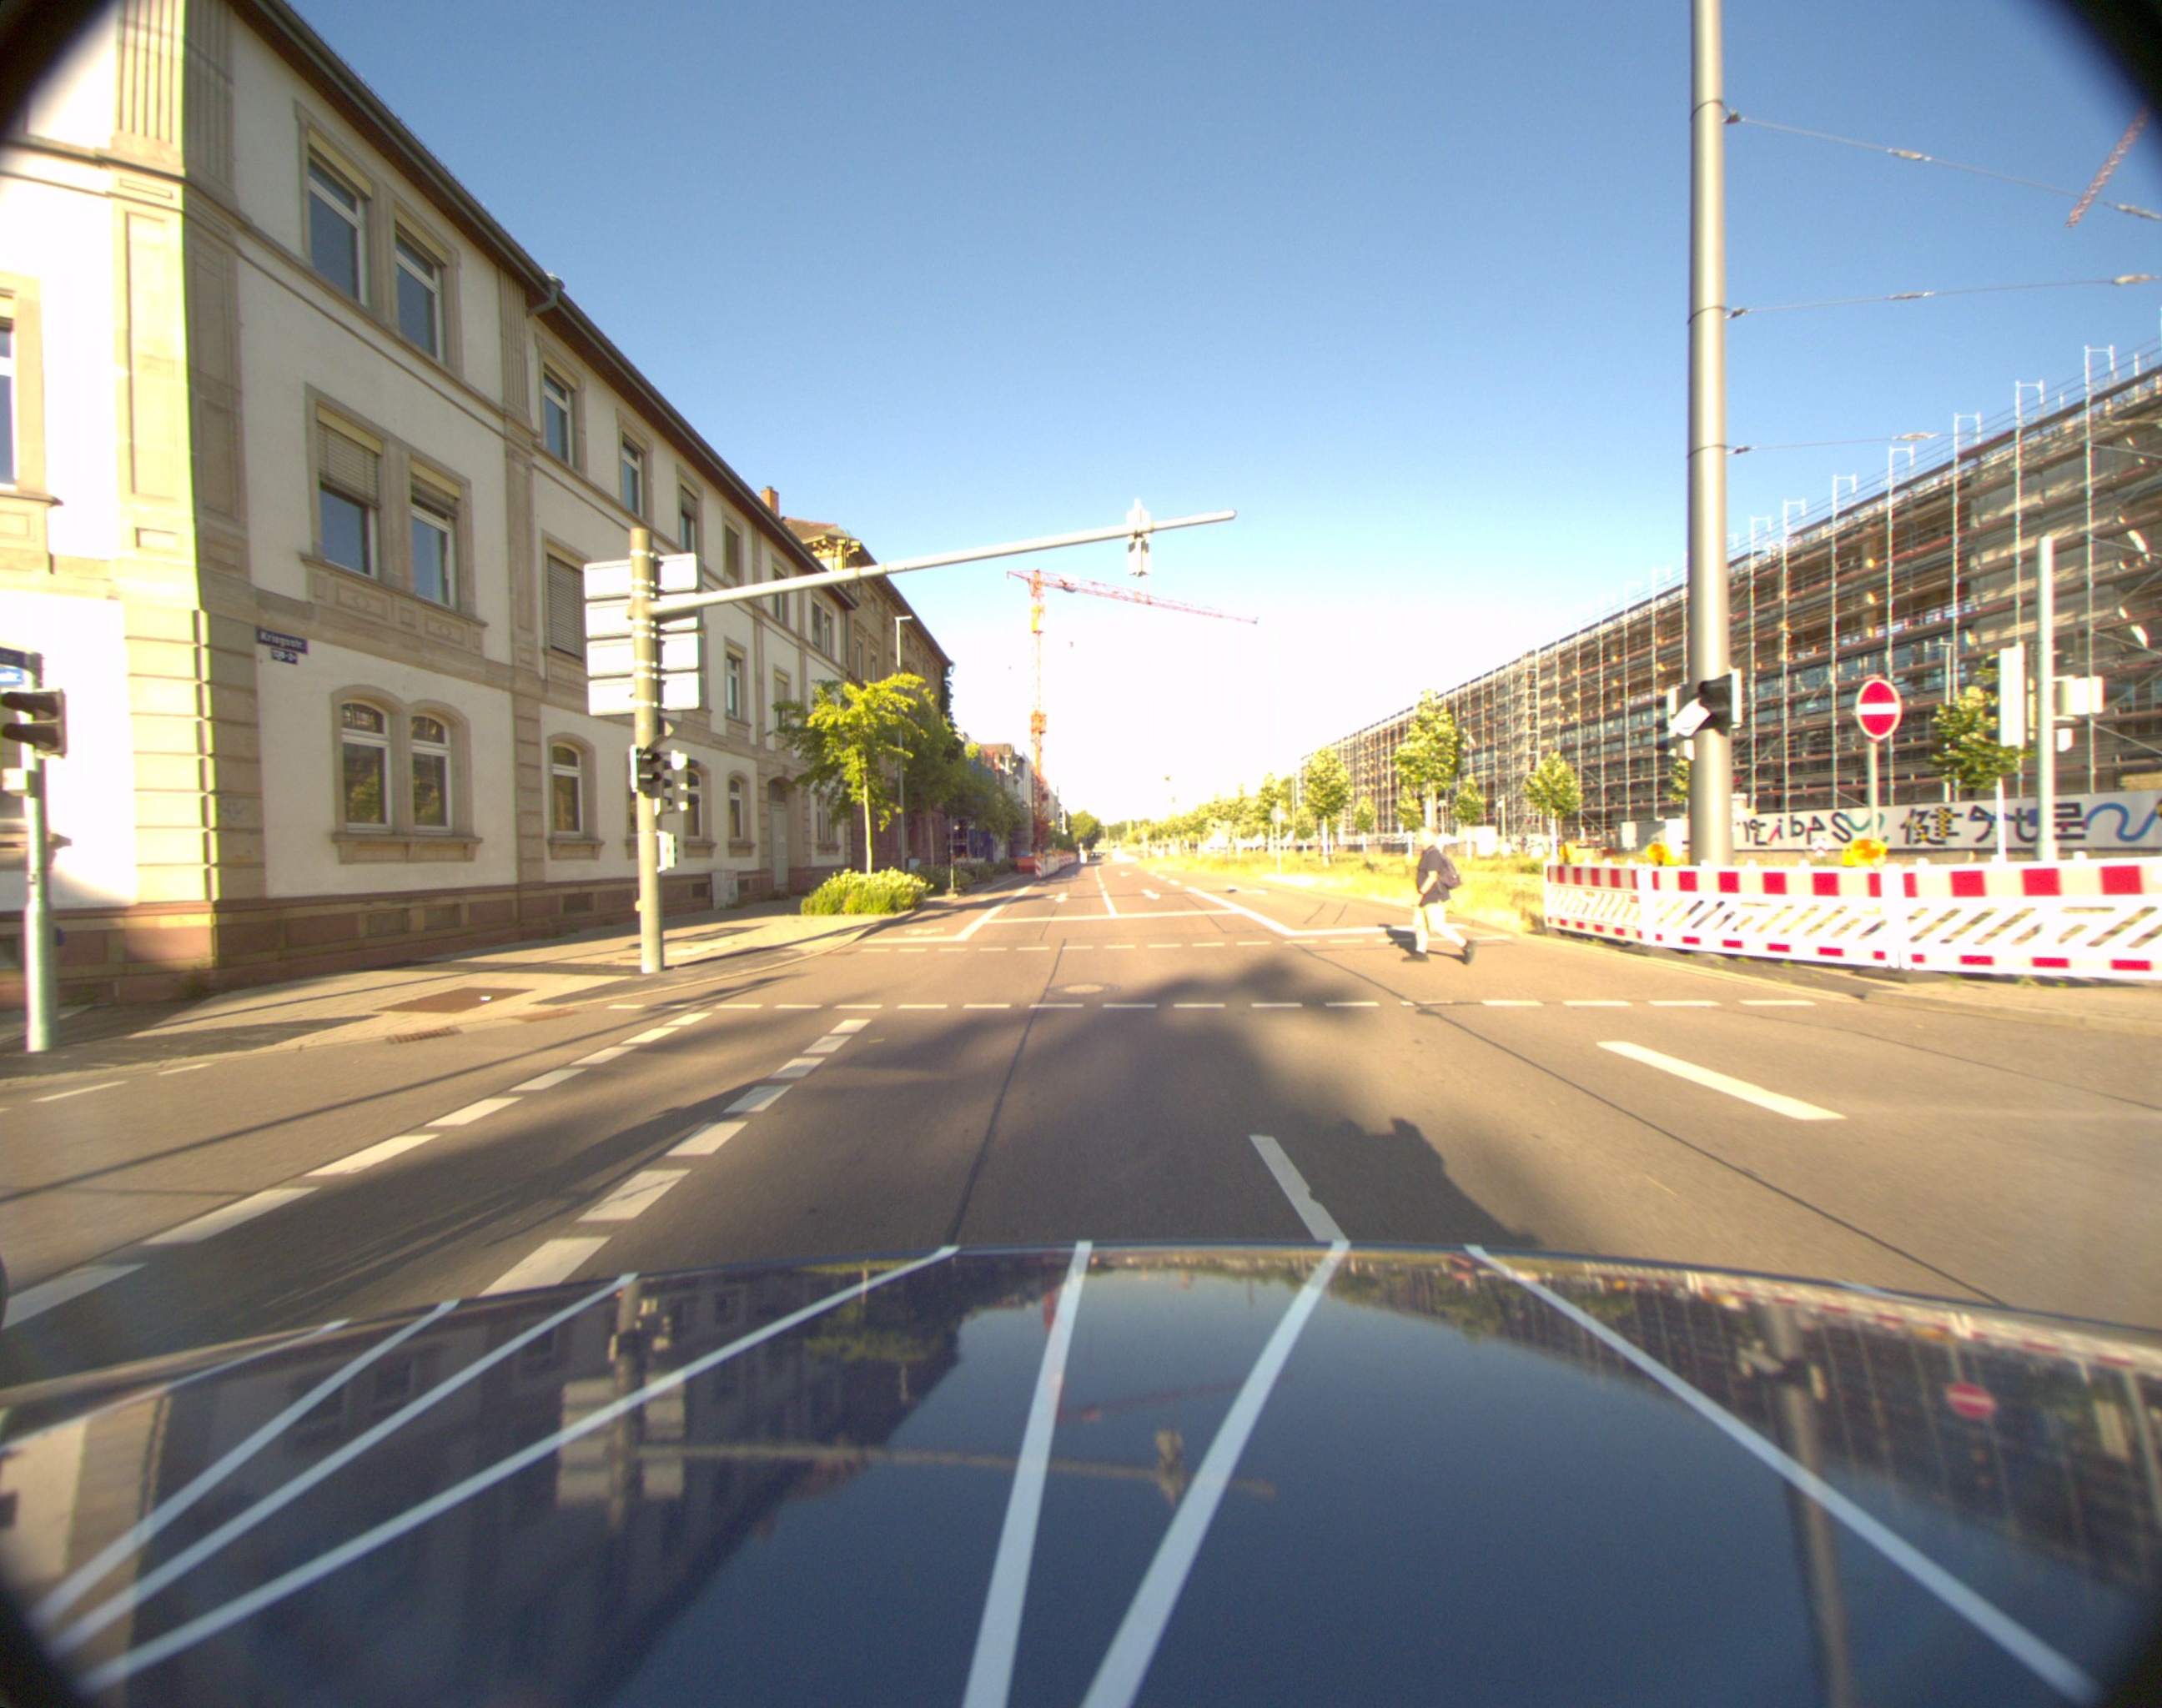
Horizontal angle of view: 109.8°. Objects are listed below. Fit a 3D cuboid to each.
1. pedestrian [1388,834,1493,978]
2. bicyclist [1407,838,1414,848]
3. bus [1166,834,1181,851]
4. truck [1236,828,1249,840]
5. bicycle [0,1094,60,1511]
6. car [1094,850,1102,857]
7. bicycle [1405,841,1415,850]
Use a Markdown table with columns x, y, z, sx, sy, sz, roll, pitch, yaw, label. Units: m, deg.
| x | y | z | sx | sy | sz | roll | pitch | yaw | label |
| --- | --- | --- | --- | --- | --- | --- | --- | --- | --- |
| 4.257 | 0.597 | 9.048 | 0.926 | 1.639 | 0.765 | -1 | 1 | 7 | pedestrian |
| 39.223 | -1.267 | 90.439 | 0.480 | 1.147 | 0.638 | -1 | 1 | 1 | bicyclist |
| 18.983 | -2.310 | 156.303 | 2.723 | 3.204 | 8.658 | -1 | 0 | 5 | bus |
| 35.742 | -4.481 | 168.224 | 2.143 | 2.559 | 4.740 | -1 | 1 | 3 | truck |
| -3.194 | 1.232 | 1.234 | 0.522 | 1.091 | 1.842 | -1 | 0 | 1 | bicycle |
| 4.385 | -0.094 | 199.926 | 1.998 | 1.696 | 3.999 | -1 | 1 | 1 | car |
| 39.206 | -1.061 | 90.495 | 0.480 | 1.055 | 1.564 | -1 | 1 | 1 | bicycle |
